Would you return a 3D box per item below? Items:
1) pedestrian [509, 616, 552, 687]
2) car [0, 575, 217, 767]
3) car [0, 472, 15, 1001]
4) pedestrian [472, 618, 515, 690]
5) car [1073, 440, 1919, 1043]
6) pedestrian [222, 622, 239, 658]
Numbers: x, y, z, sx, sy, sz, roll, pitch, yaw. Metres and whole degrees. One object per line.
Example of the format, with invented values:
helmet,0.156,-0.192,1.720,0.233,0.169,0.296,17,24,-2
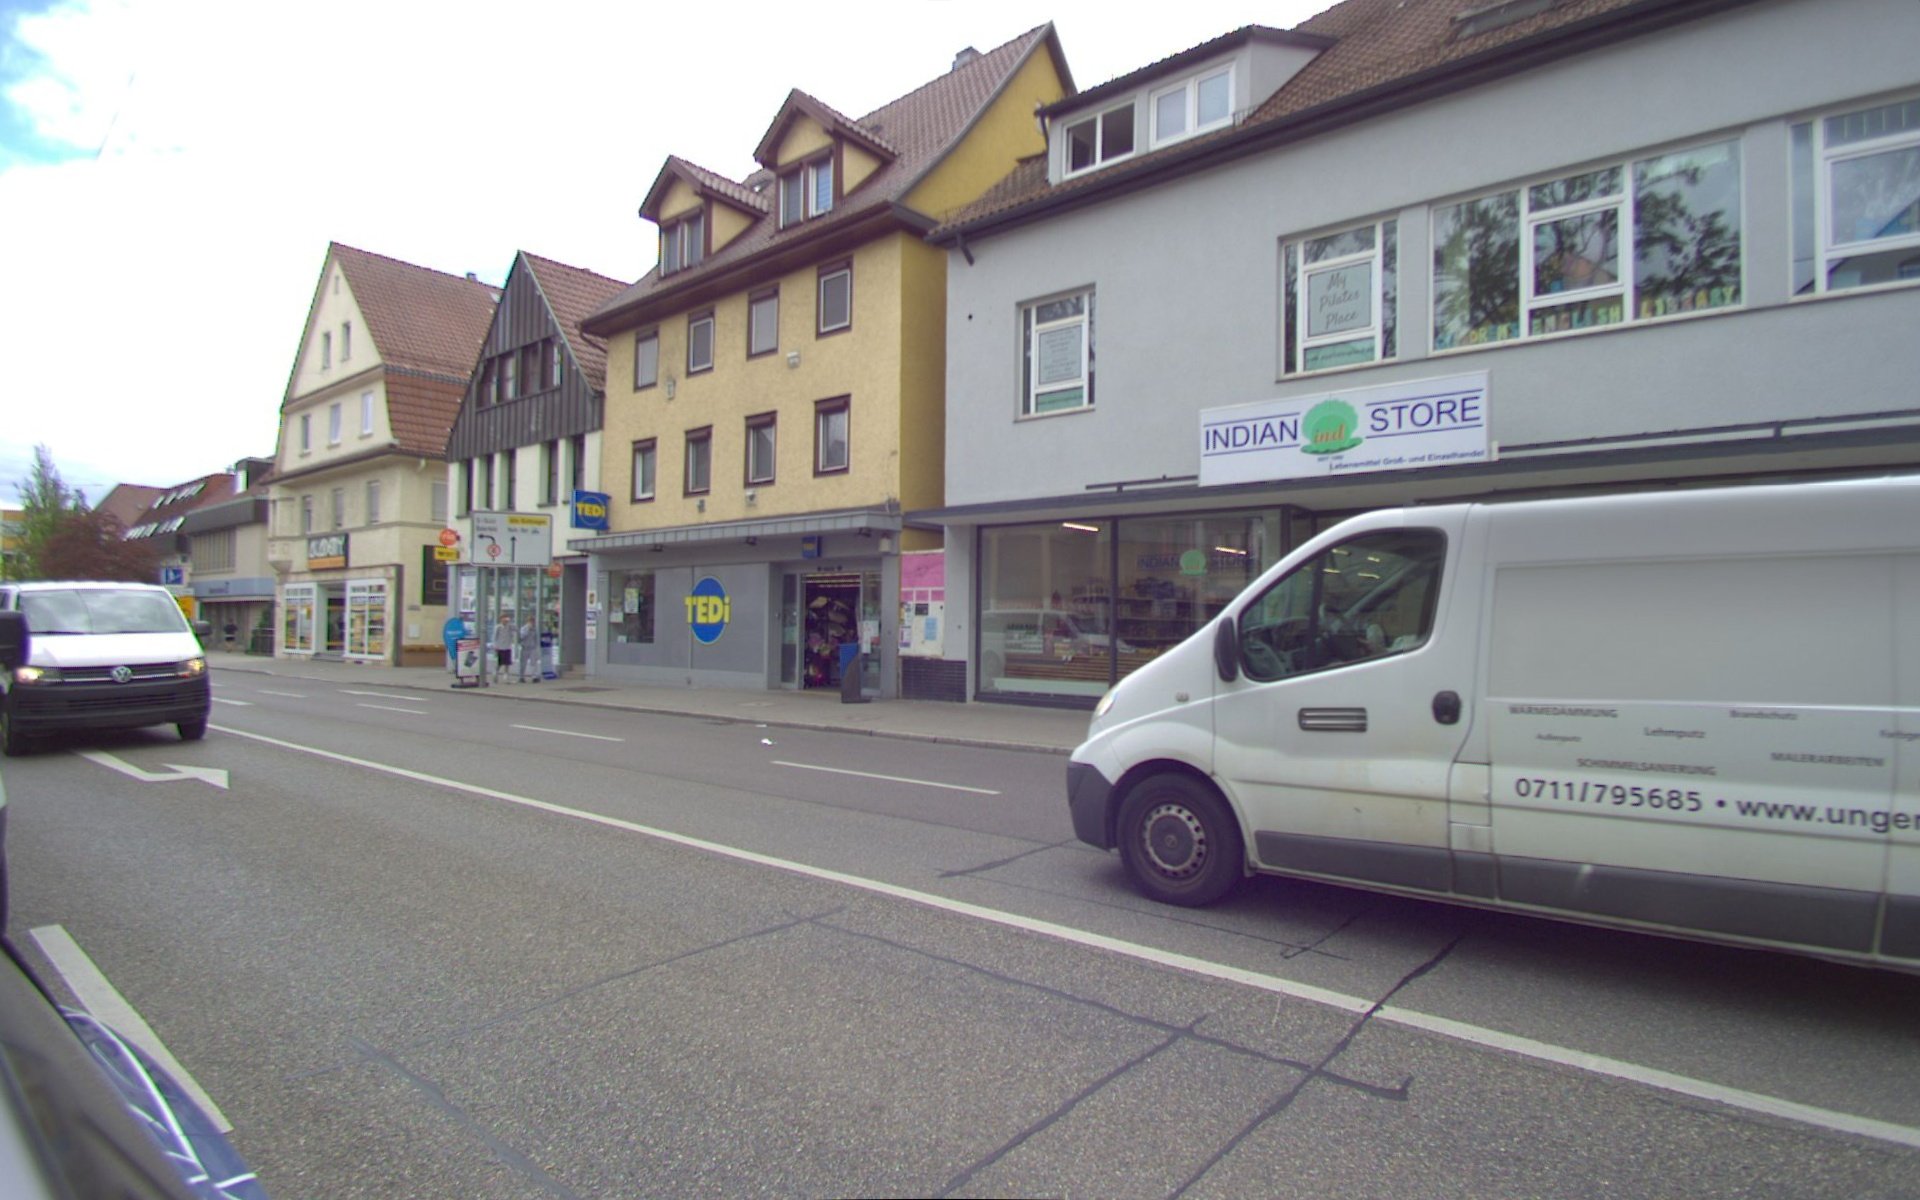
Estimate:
pedestrian,-10.549,1.243,24.831,0.709,1.683,0.681,-2,0,41
car,-11.110,0.801,12.752,4.850,1.974,1.806,-2,-2,41
car,-6.143,0.559,4.757,5.161,1.974,1.939,-1,-1,41
pedestrian,-11.239,1.283,24.391,0.742,1.703,0.680,-2,-1,41
car,3.183,0.494,4.378,5.154,1.902,1.973,-2,-3,40
pedestrian,-39.075,2.141,54.191,0.592,1.903,0.544,-2,-1,37
